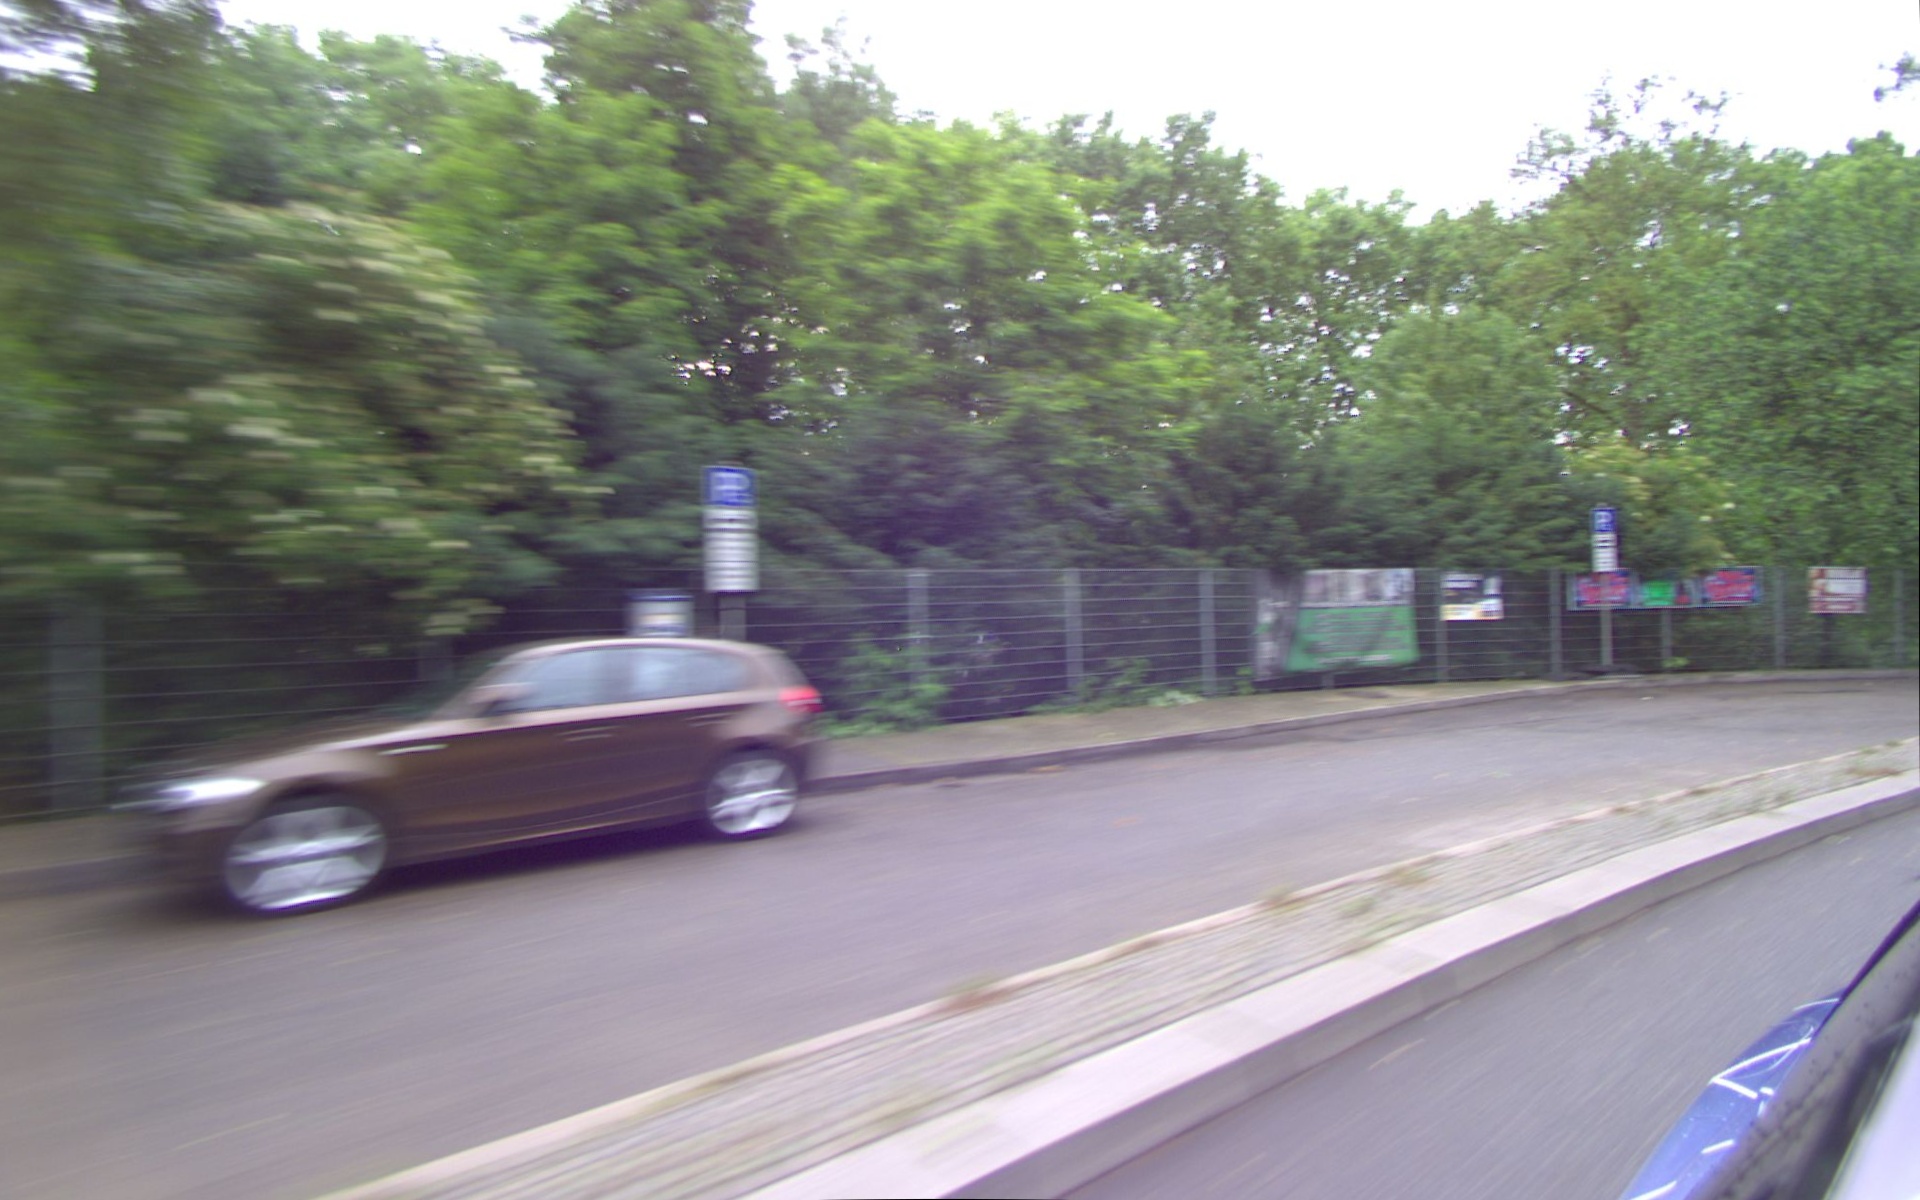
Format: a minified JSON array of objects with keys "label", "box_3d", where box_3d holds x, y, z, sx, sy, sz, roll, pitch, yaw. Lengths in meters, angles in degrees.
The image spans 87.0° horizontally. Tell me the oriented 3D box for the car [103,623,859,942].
[{"label":"car","box_3d":[-2.918,0.928,6.683,4.098,1.395,1.875,0,-4,-39]}]
